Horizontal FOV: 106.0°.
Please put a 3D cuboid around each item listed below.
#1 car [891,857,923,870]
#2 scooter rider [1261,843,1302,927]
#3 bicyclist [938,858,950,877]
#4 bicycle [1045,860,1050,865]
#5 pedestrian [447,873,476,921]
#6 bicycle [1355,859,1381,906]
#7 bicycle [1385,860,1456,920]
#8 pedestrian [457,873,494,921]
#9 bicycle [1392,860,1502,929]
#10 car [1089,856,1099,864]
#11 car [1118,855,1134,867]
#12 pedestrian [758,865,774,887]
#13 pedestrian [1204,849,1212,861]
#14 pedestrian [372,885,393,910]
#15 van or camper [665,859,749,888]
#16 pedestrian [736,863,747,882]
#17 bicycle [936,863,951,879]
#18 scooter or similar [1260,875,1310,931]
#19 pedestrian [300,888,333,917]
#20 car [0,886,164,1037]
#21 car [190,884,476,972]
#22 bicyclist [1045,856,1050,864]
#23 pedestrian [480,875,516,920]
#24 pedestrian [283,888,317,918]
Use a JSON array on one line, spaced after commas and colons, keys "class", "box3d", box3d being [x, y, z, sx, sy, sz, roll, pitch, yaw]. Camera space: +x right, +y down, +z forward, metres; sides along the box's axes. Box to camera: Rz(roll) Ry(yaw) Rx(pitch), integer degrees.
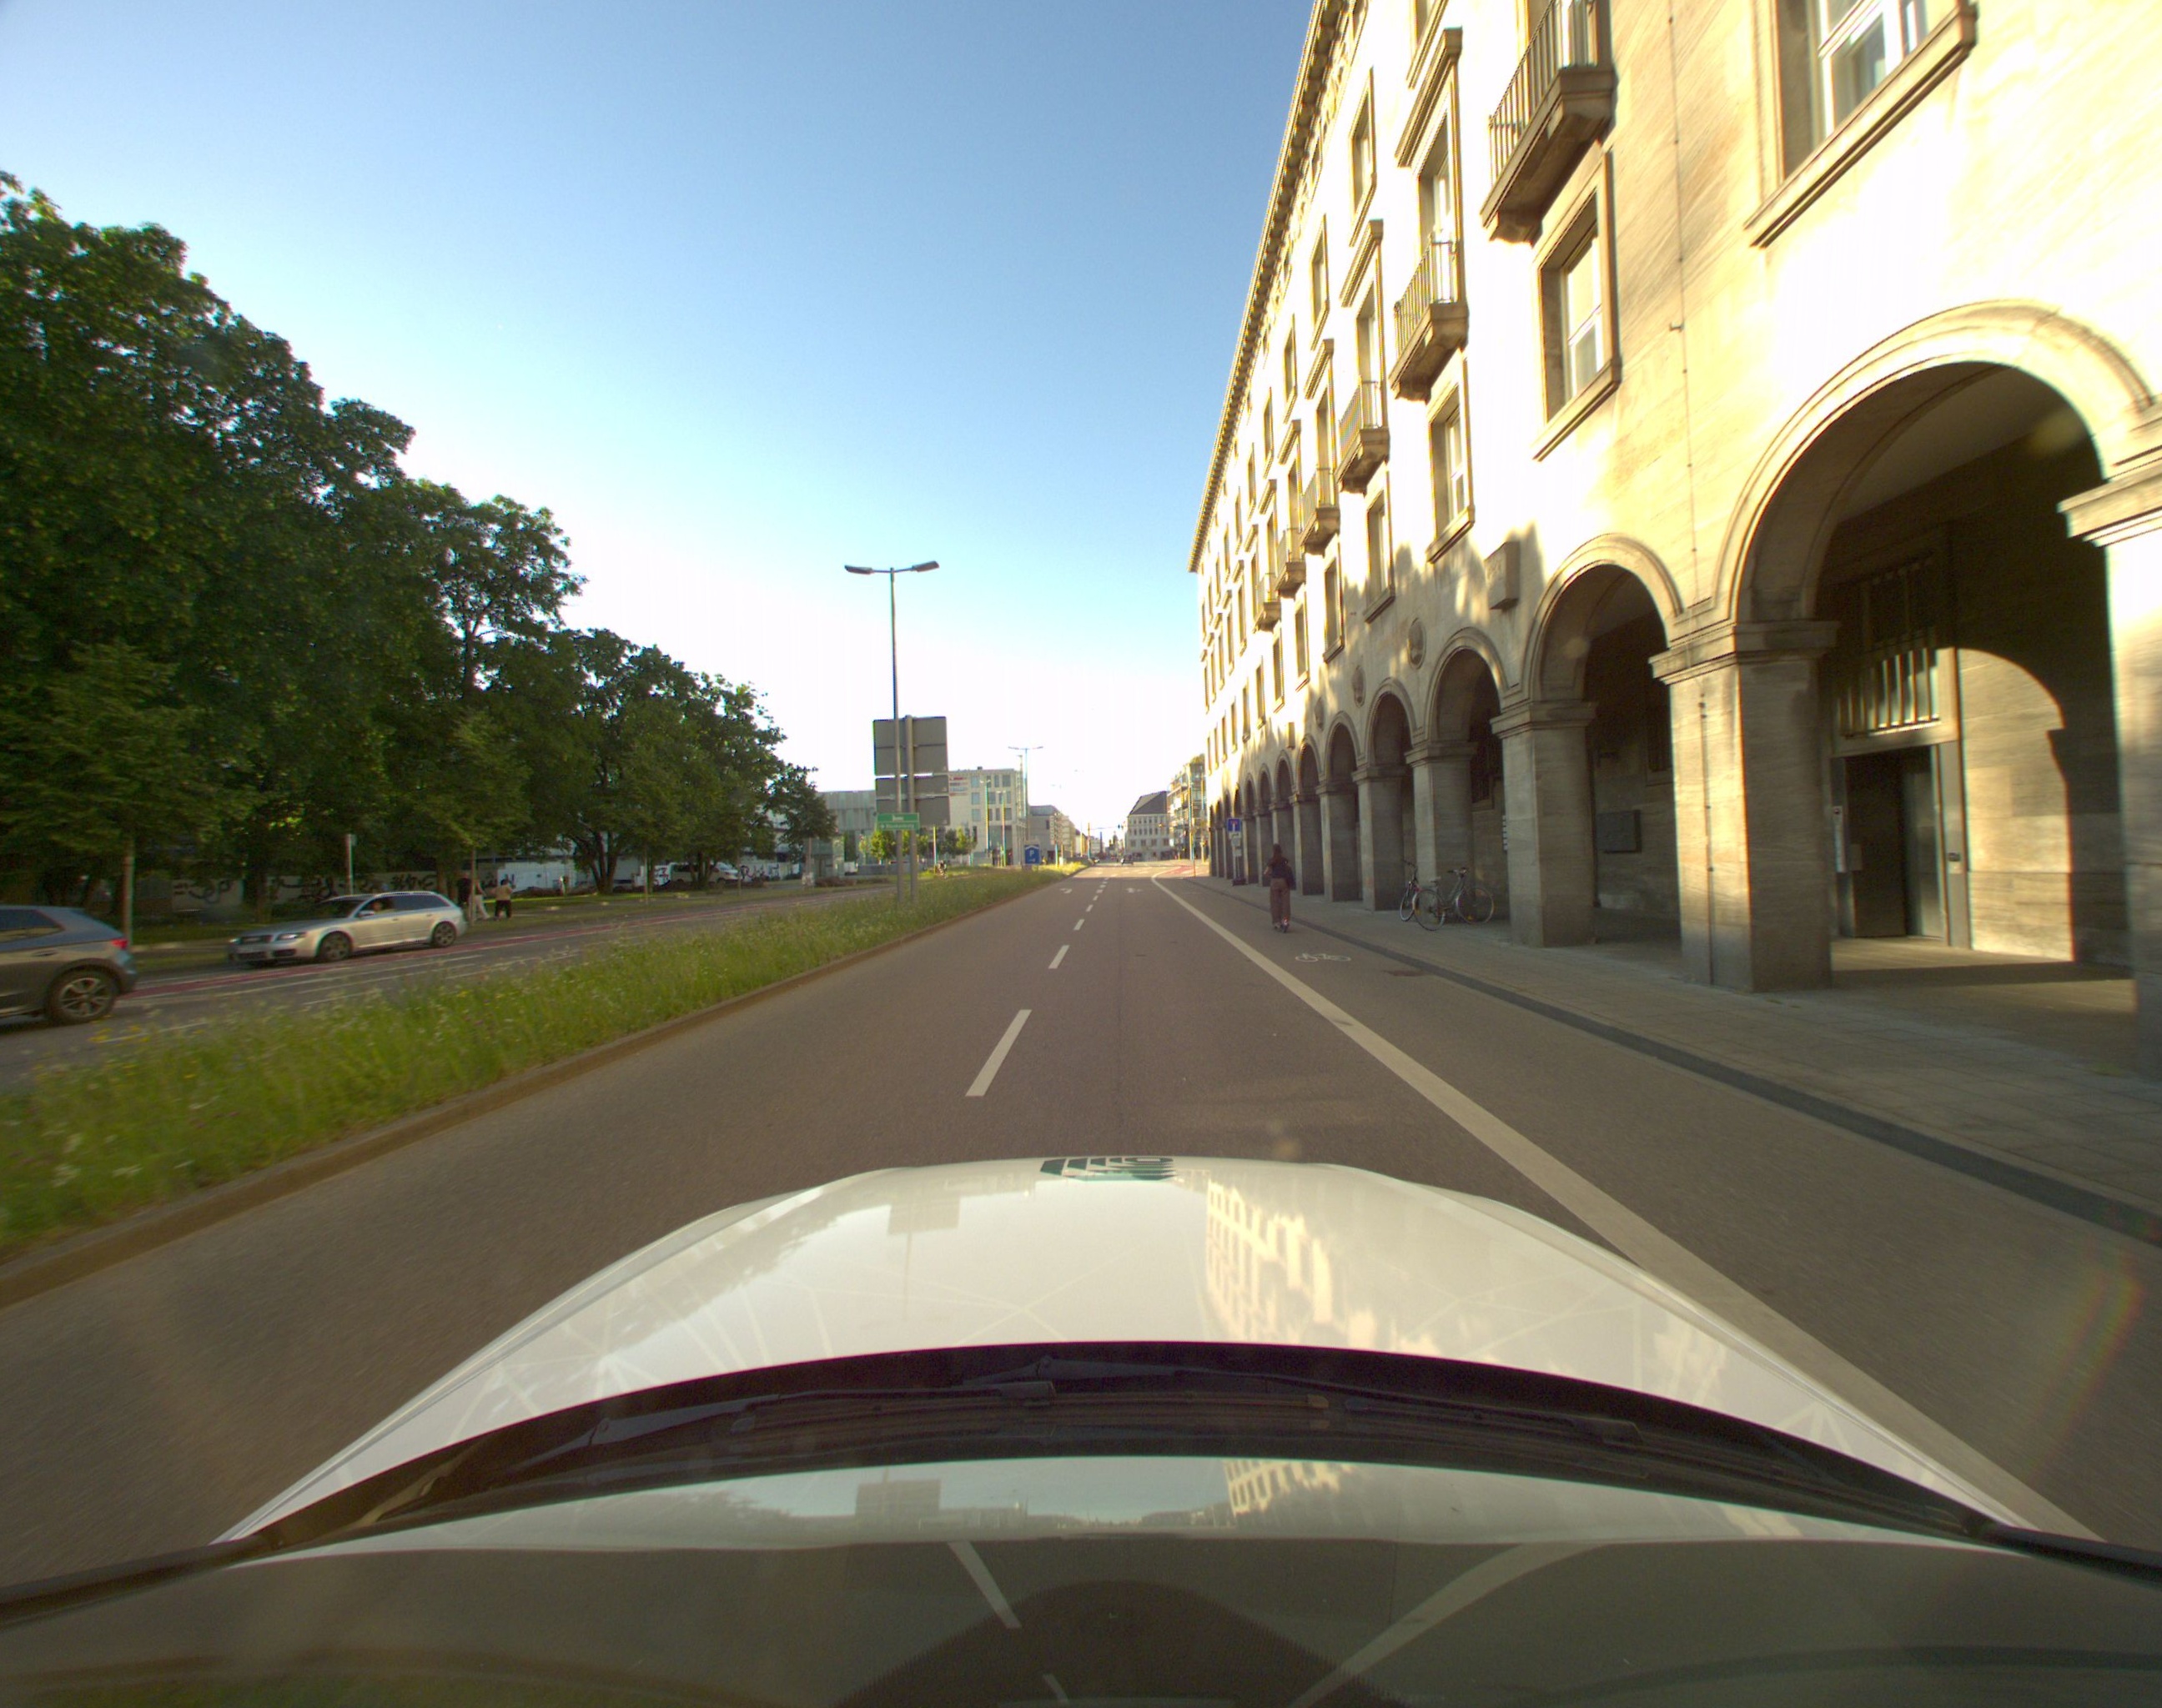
[{"class": "car", "box3d": [-27.251, 1.532, 127.630, 4.632, 1.810, 1.869, -2, -2, -5]}, {"class": "scooter rider", "box3d": [4.004, 0.609, 16.296, 0.561, 1.632, 0.648, -2, -1, -7]}, {"class": "bicyclist", "box3d": [-11.817, 1.132, 70.228, 0.744, 1.590, 1.203, -3, -2, 3]}, {"class": "bicycle", "box3d": [-6.194, 1.607, 150.976, 0.608, 0.861, 1.955, -2, 0, 9]}, {"class": "pedestrian", "box3d": [-23.332, 1.608, 30.667, 0.521, 1.740, 0.656, -2, -1, 7]}, {"class": "bicycle", "box3d": [7.095, 0.692, 20.110, 0.466, 1.050, 1.722, -4, 0, 22]}, {"class": "bicycle", "box3d": [6.721, 0.696, 16.079, 1.723, 1.050, 0.604, -3, -1, -44]}, {"class": "pedestrian", "box3d": [-22.656, 1.613, 30.471, 0.767, 1.740, 0.762, -2, -1, 6]}, {"class": "bicycle", "box3d": [6.360, 0.688, 14.162, 1.709, 1.050, 0.525, -4, -1, -12]}, {"class": "car", "box3d": [2.888, 1.292, 183.176, 1.985, 1.742, 4.650, -2, 1, 3]}, {"class": "car", "box3d": [6.127, 0.895, 110.714, 1.771, 1.564, 3.786, -2, 0, -2]}, {"class": "pedestrian", "box3d": [-22.438, 1.577, 58.085, 0.609, 1.527, 0.944, -2, 0, 8]}, {"class": "pedestrian", "box3d": [20.269, 0.149, 130.085, 0.814, 1.748, 1.048, -3, -1, 25]}, {"class": "pedestrian", "box3d": [-47.858, 2.995, 55.825, 0.719, 1.641, 0.746, -2, -1, 8]}, {"class": "van or camper", "box3d": [-29.915, 1.601, 65.279, 5.637, 2.014, 2.260, -3, -2, 4]}, {"class": "pedestrian", "box3d": [-31.662, 1.731, 75.950, 0.577, 1.688, 0.836, -2, 0, 1]}, {"class": "bicycle", "box3d": [-11.810, 1.461, 70.132, 0.755, 1.275, 2.259, -3, -2, 3]}, {"class": "scooter or similar", "box3d": [4.033, 0.960, 16.181, 0.555, 1.031, 1.114, -2, -1, -8]}, {"class": "pedestrian", "box3d": [-42.376, 2.665, 45.145, 0.900, 1.540, 0.893, -2, -1, -4]}, {"class": "car", "box3d": [-12.610, 1.212, 8.205, 1.985, 1.564, 4.064, -2, 0, 3]}, {"class": "car", "box3d": [-16.531, 1.558, 18.417, 1.924, 1.526, 4.594, -2, 0, 5]}, {"class": "bicyclist", "box3d": [-6.216, 1.035, 150.898, 0.603, 1.489, 0.682, -2, 0, 8]}, {"class": "pedestrian", "box3d": [-21.807, 1.613, 30.458, 0.738, 1.641, 0.727, -2, -1, 6]}, {"class": "pedestrian", "box3d": [-42.360, 2.629, 44.174, 0.900, 1.540, 0.893, -2, -1, -4]}]
